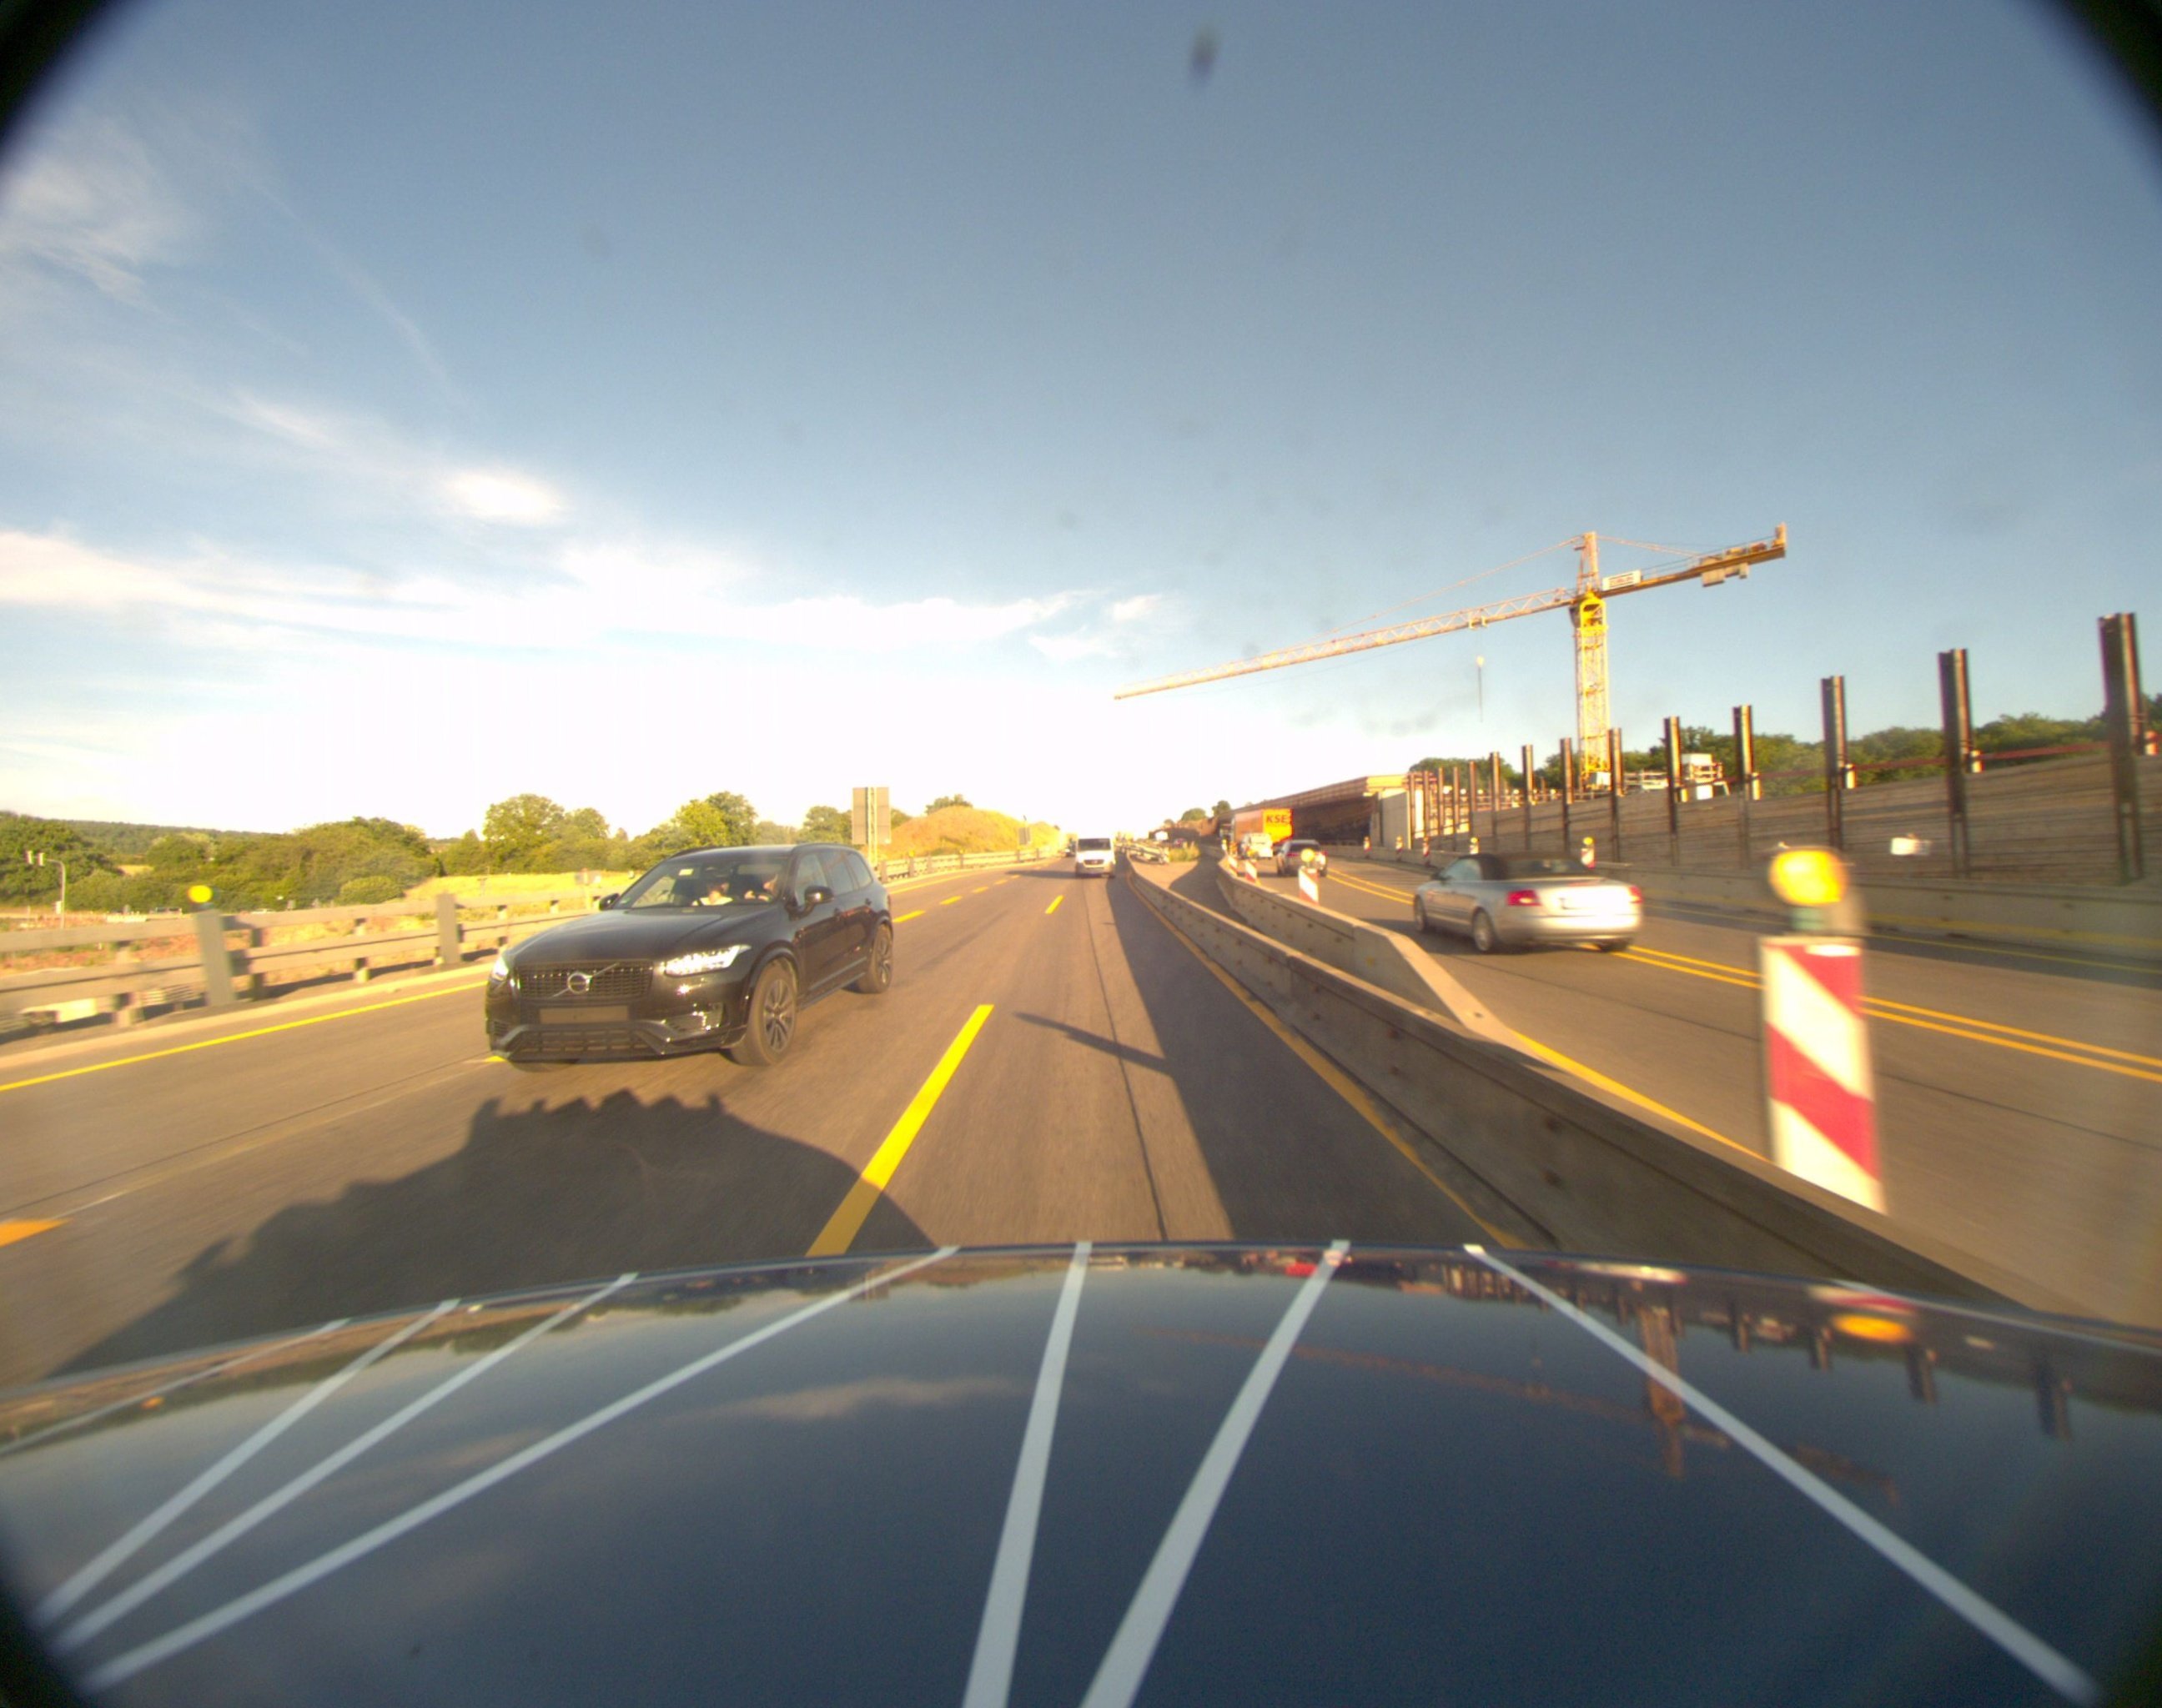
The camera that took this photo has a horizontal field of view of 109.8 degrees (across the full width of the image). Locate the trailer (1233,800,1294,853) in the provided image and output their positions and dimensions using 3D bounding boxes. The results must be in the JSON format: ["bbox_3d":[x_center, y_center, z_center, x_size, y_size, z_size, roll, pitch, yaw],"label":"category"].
[{"bbox_3d":[17.154,-2.547,72.556,2.590,4.446,14.134,-3,1,2],"label":"trailer"}]

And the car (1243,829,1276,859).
[{"bbox_3d":[13.346,-0.794,57.142,1.997,2.002,5.259,-3,1,9],"label":"car"}]

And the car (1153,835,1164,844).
[{"bbox_3d":[15.200,-2.813,149.051,1.734,1.592,4.111,-2,2,0],"label":"car"}]

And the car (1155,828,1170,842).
[{"bbox_3d":[17.708,-4.240,166.101,2.334,2.950,6.160,-2,2,-1],"label":"car"}]

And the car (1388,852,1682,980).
[{"bbox_3d":[6.247,0.730,11.219,1.792,1.349,4.636,-3,1,4],"label":"car"}]

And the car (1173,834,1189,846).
[{"bbox_3d":[14.864,-2.073,113.086,1.734,1.592,4.659,-2,2,0],"label":"car"}]

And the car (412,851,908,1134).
[{"bbox_3d":[-3.230,0.872,7.268,1.902,1.703,4.887,-2,1,1],"label":"car"}]

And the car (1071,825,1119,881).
[{"bbox_3d":[0.701,-0.119,37.937,2.110,2.519,5.218,-2,2,1],"label":"car"}]

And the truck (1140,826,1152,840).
[{"bbox_3d":[18.050,-5.923,211.190,2.796,3.705,7.160,-2,2,0],"label":"truck"}]

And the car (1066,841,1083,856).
[{"bbox_3d":[-0.672,-0.596,82.390,1.791,1.478,3.999,-2,2,0],"label":"car"}]

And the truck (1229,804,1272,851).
[{"bbox_3d":[17.250,-2.656,77.973,2.590,4.446,8.330,-3,1,2],"label":"truck"}]

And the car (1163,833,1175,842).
[{"bbox_3d":[15.223,-2.842,131.906,1.665,1.383,3.999,-6,2,3],"label":"car"}]

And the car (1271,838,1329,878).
[{"bbox_3d":[9.832,0.116,34.460,1.792,1.610,4.876,-3,1,8],"label":"car"}]

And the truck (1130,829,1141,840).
[{"bbox_3d":[17.098,-6.169,236.930,2.774,3.224,7.160,-2,2,0],"label":"truck"}]
